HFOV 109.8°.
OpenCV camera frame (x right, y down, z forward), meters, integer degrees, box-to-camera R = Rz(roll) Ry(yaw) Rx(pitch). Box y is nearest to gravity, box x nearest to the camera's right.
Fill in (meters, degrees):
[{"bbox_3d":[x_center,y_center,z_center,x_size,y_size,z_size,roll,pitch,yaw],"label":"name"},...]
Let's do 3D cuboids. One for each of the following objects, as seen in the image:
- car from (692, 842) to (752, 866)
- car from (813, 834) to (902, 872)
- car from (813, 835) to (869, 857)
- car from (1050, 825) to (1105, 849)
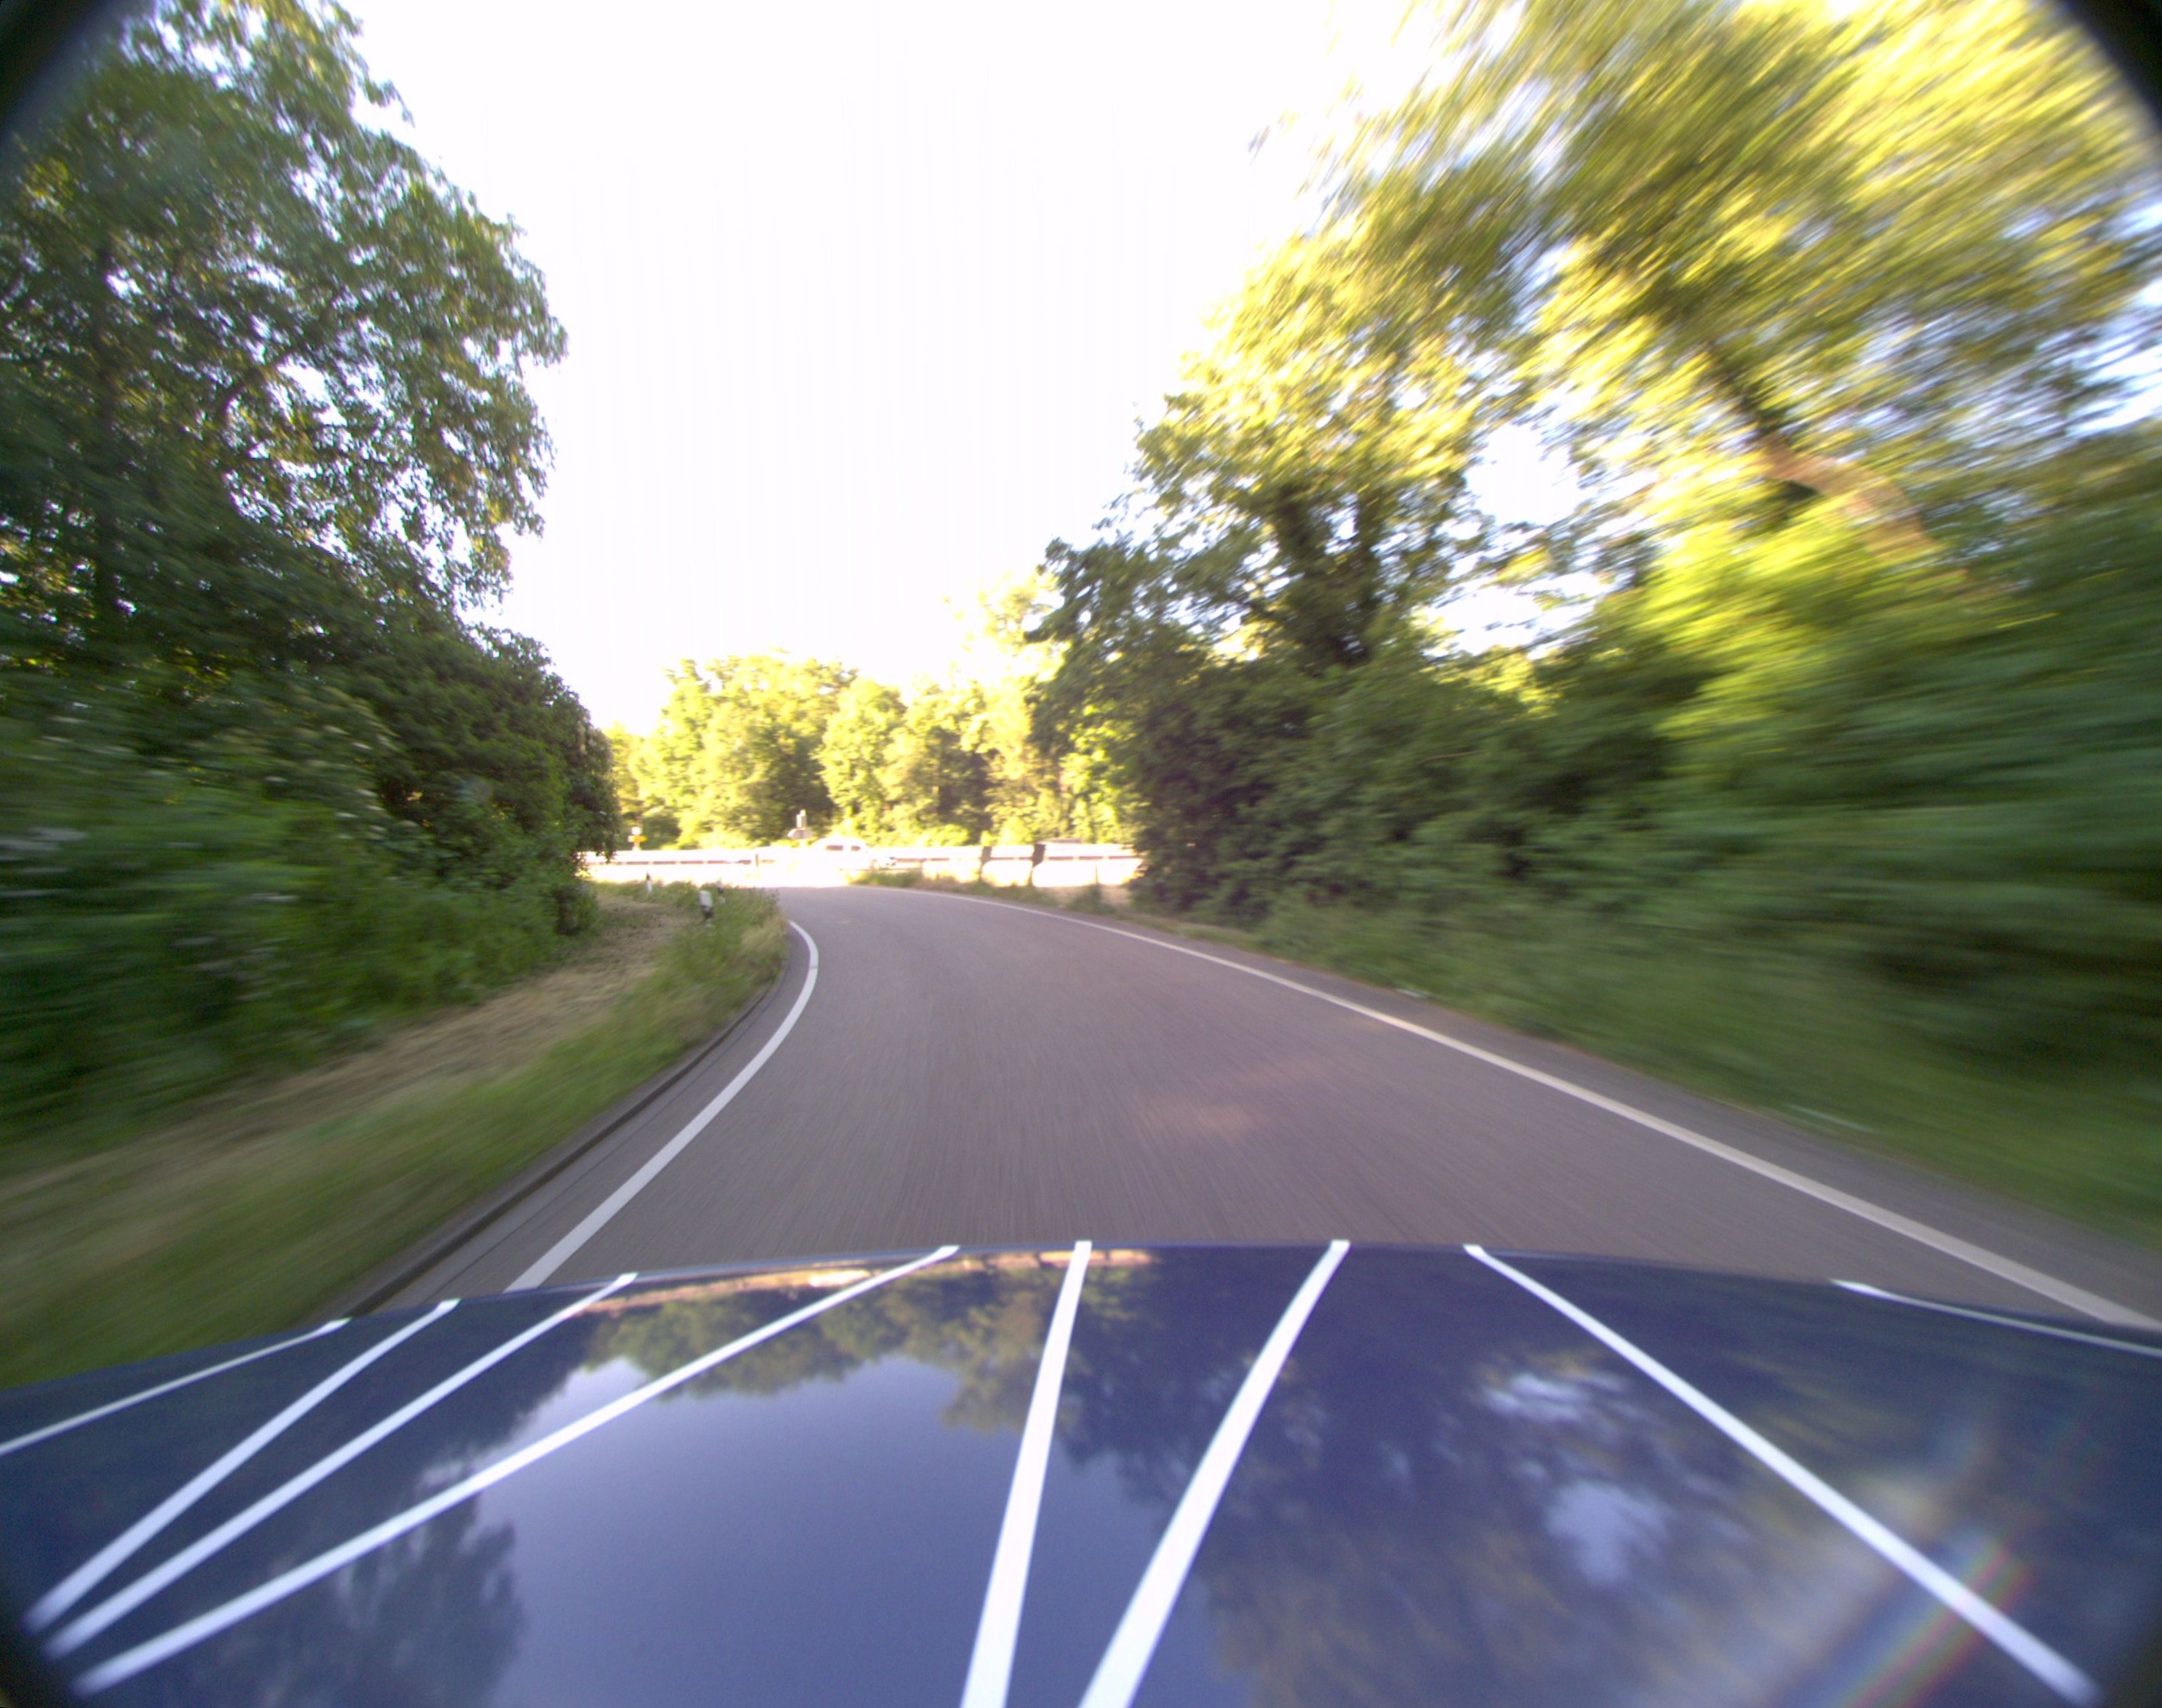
[{"bbox_3d":[-28.029,-0.011,59.389,3.700,1.612,1.937,-2,1,9],"label":"car"},{"bbox_3d":[-12.662,-0.097,43.234,4.345,1.855,1.936,-3,3,6],"label":"car"},{"bbox_3d":[-18.679,-0.605,59.302,3.700,1.534,1.749,-2,1,7],"label":"car"},{"bbox_3d":[-0.231,-1.271,57.130,3.699,1.612,1.937,-2,1,11],"label":"car"}]
